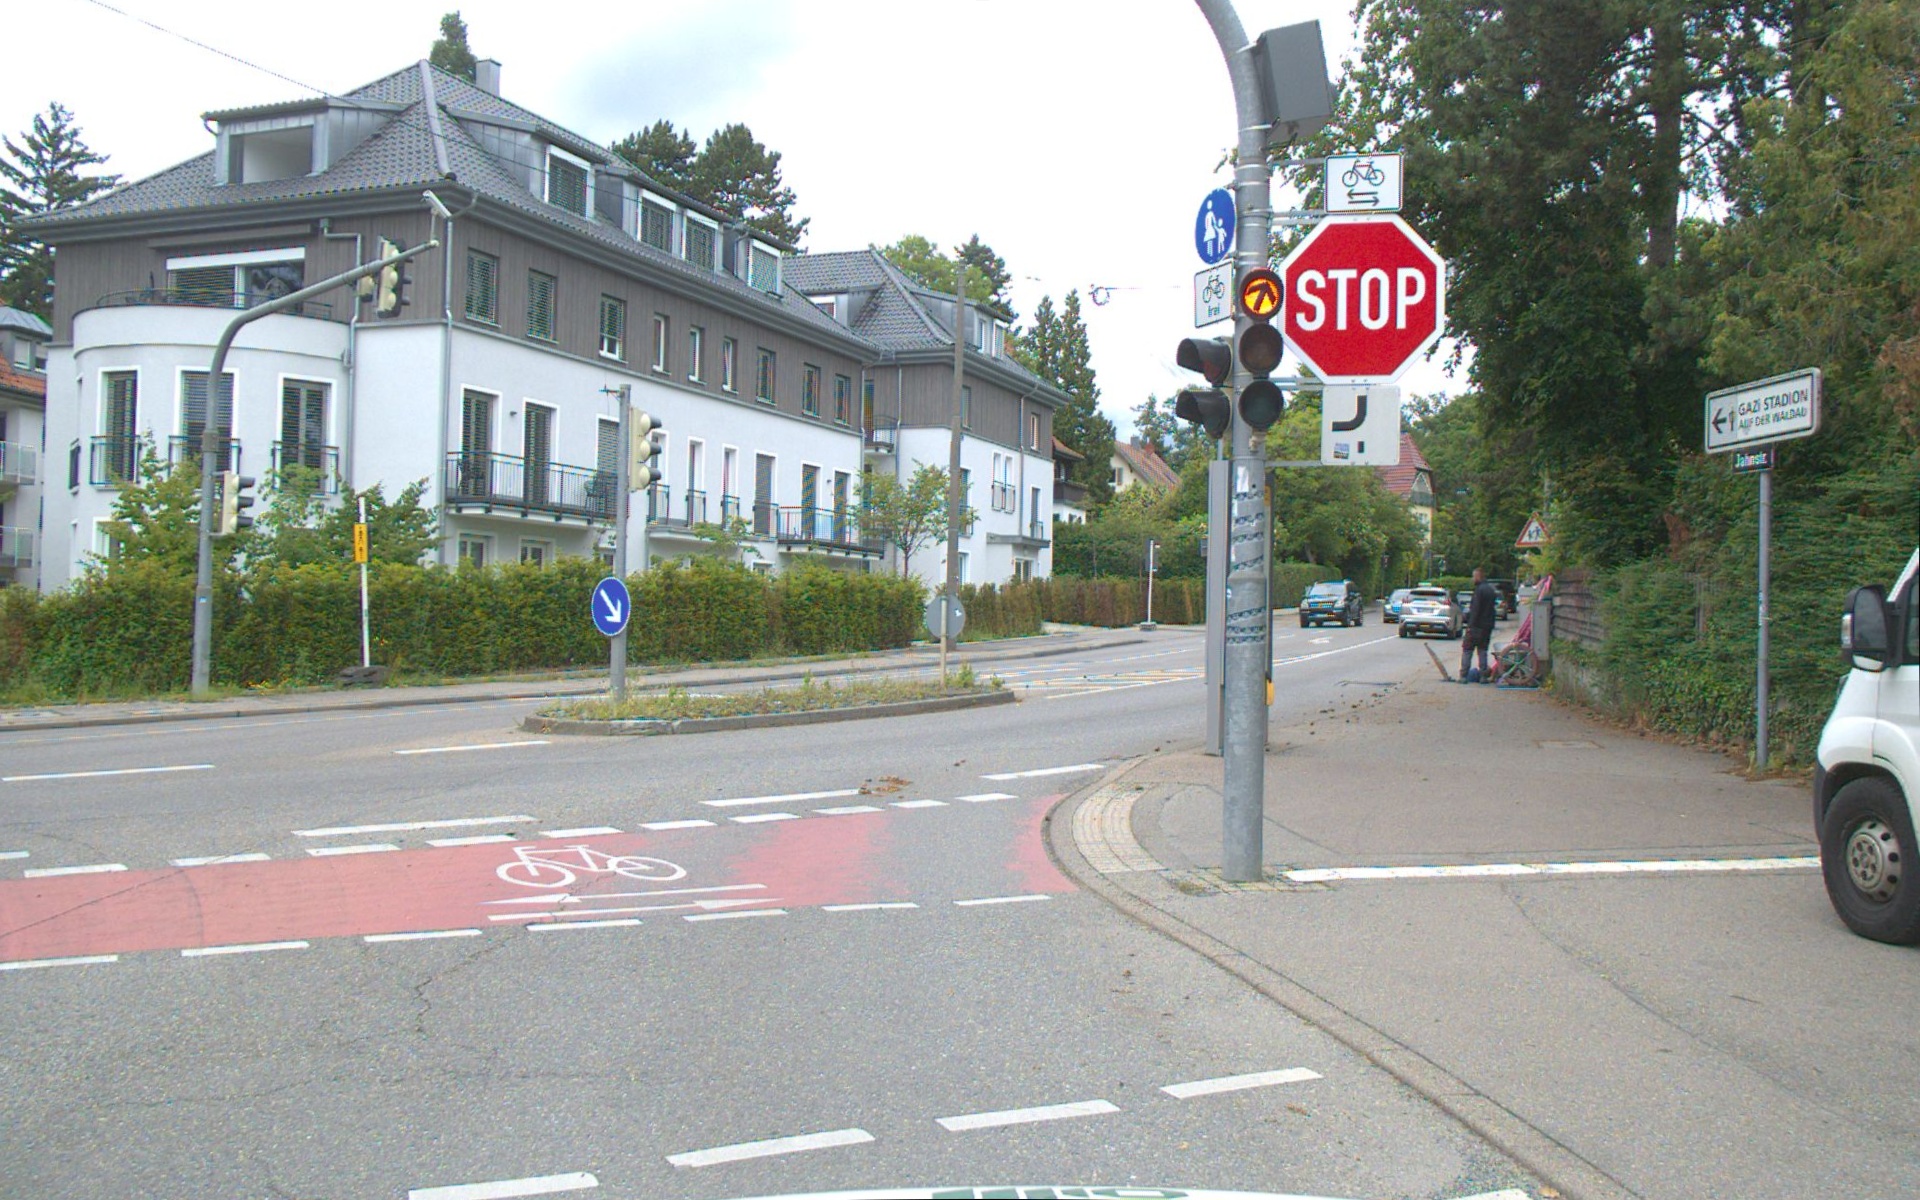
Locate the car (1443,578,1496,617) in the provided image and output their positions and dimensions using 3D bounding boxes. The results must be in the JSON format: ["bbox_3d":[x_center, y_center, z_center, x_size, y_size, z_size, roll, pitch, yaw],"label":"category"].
[{"bbox_3d":[21.285,-0.114,68.968,1.763,1.553,4.743,-1,0,21],"label":"car"}]

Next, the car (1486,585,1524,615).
[{"bbox_3d":[27.451,-0.003,83.212,1.659,1.455,3.749,-1,0,21],"label":"car"}]

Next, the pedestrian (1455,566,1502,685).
[{"bbox_3d":[8.589,0.419,27.405,0.584,1.940,0.558,1,0,0],"label":"pedestrian"}]

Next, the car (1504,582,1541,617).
[{"bbox_3d":[33.225,-0.026,97.595,1.879,1.927,4.909,2,1,20],"label":"car"}]

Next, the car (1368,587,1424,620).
[{"bbox_3d":[19.604,0.128,74.255,1.899,1.428,4.742,1,1,22],"label":"car"}]

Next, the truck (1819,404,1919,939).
[{"bbox_3d":[5.141,0.319,5.024,2.162,2.283,5.724,1,0,1],"label":"truck"}]

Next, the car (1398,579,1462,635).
[{"bbox_3d":[15.689,0.227,55.117,1.770,1.784,4.488,-1,0,19],"label":"car"}]

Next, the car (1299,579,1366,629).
[{"bbox_3d":[15.021,0.178,66.502,1.873,1.913,5.142,-1,-1,21],"label":"car"}]
